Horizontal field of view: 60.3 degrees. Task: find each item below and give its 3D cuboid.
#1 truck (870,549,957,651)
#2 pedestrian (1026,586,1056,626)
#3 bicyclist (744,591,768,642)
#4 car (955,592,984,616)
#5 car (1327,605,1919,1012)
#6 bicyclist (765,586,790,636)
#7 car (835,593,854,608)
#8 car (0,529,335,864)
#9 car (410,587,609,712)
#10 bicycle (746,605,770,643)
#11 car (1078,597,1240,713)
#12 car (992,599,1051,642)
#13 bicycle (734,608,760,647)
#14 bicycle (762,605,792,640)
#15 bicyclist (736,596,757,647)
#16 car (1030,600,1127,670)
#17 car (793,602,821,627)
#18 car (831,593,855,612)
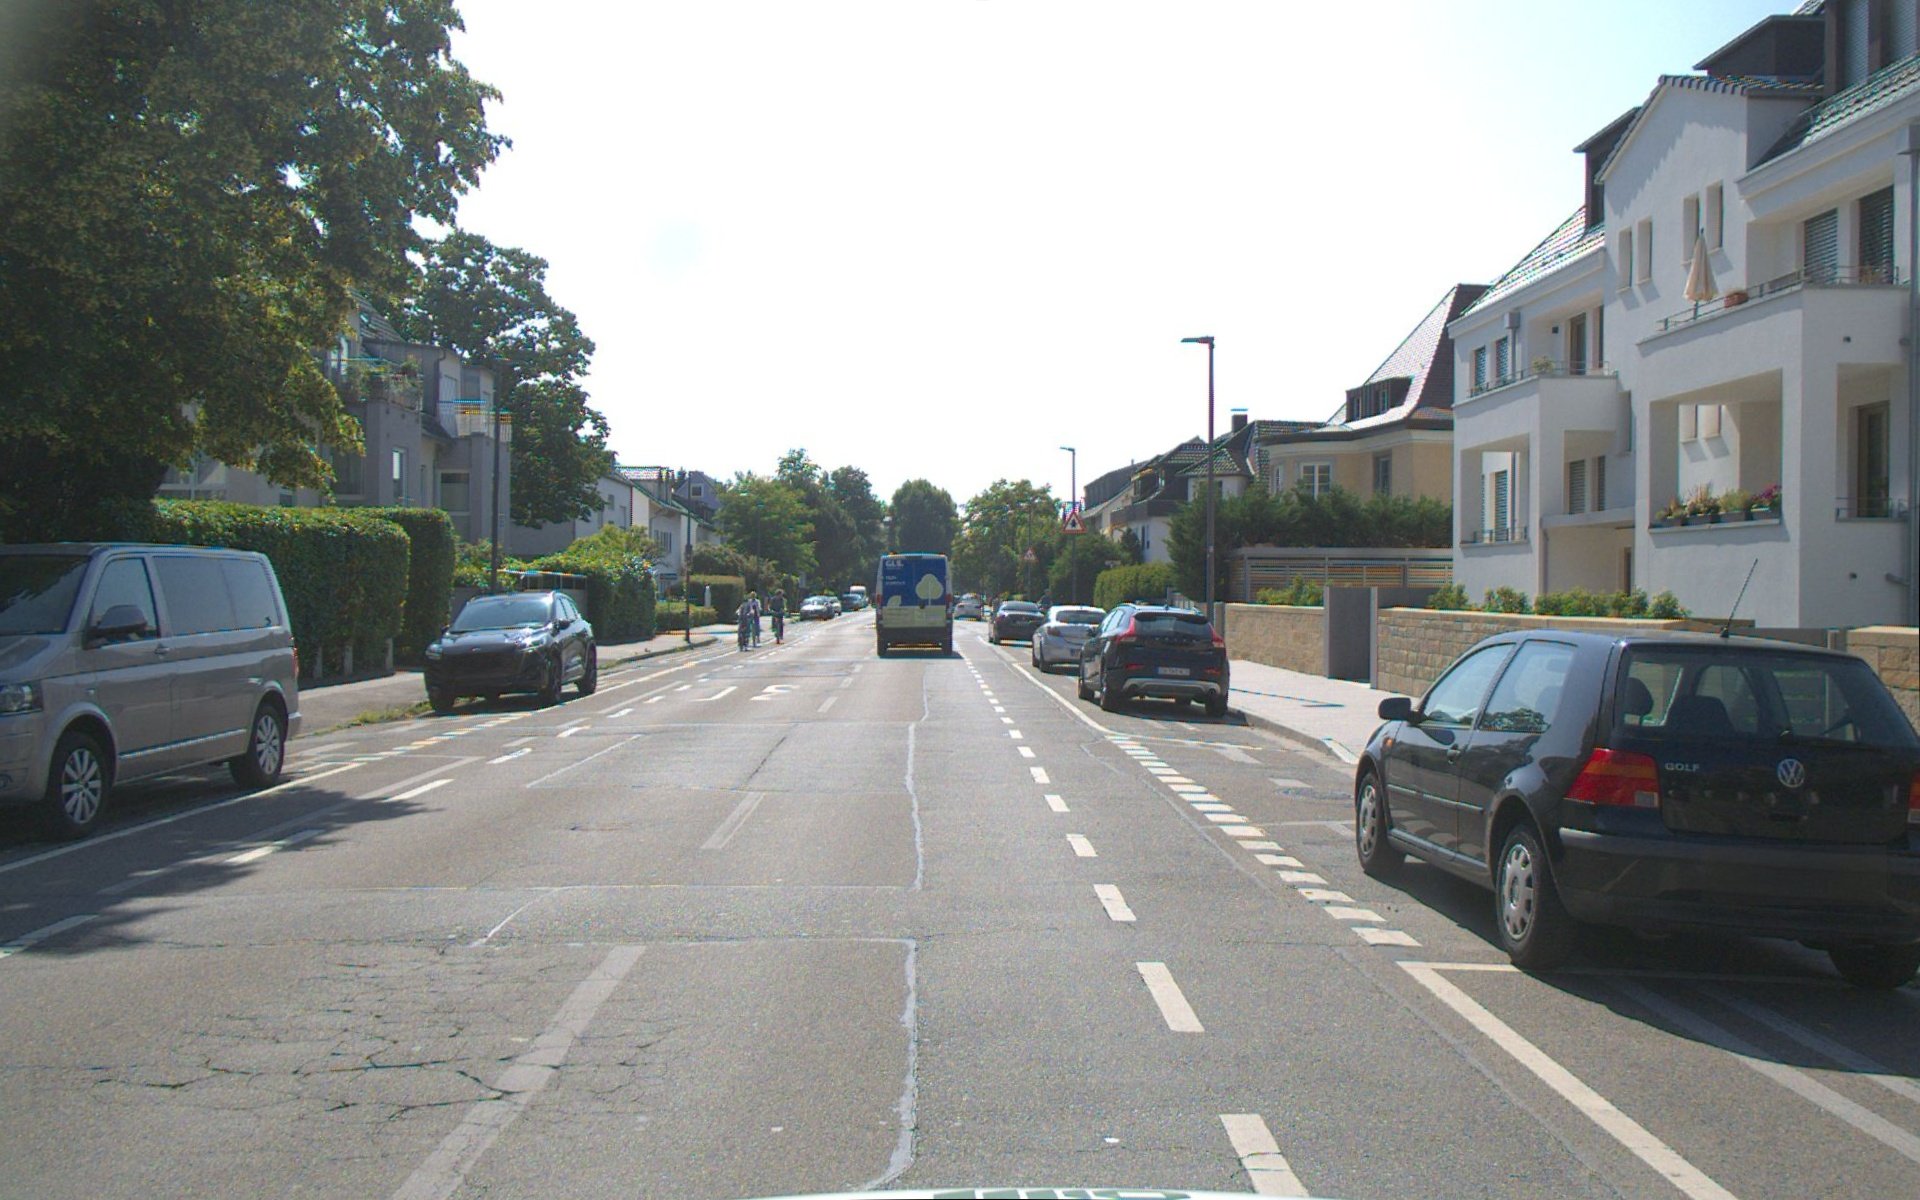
[{"bbox_3d":[-1.246,-0.002,44.580,2.226,2.616,4.390,0,0,-2],"label":"truck"},{"bbox_3d":[3.842,0.275,78.567,0.891,1.905,1.175,0,0,-35],"label":"pedestrian"},{"bbox_3d":[-6.667,0.540,54.061,0.662,1.608,0.859,-2,0,-1],"label":"bicyclist"},{"bbox_3d":[0.614,0.278,110.303,1.705,1.426,4.072,2,1,-3],"label":"car"},{"bbox_3d":[3.170,0.810,8.282,1.587,1.474,3.998,3,0,-2],"label":"car"},{"bbox_3d":[-6.326,0.367,57.374,0.734,1.697,1.021,-2,0,-1],"label":"bicyclist"},{"bbox_3d":[-11.484,0.026,164.378,1.745,1.485,4.084,0,0,-3],"label":"car"},{"bbox_3d":[-6.479,0.582,12.095,1.846,1.953,4.869,-2,0,1],"label":"car"},{"bbox_3d":[-6.789,0.696,25.402,1.813,1.639,4.447,-3,0,-1],"label":"car"},{"bbox_3d":[-6.595,0.781,54.081,0.548,1.206,2.035,-2,0,-1],"label":"bicycle"},{"bbox_3d":[2.818,0.741,24.288,1.687,1.474,4.167,3,0,-2],"label":"car"},{"bbox_3d":[2.016,0.642,55.296,1.701,1.352,4.258,0,0,-2],"label":"car"},{"bbox_3d":[-6.326,0.800,49.098,0.588,1.124,1.346,-2,0,-1],"label":"bicycle"},{"bbox_3d":[-6.345,0.765,57.450,0.767,1.186,2.419,-2,0,-1],"label":"bicycle"},{"bbox_3d":[-6.340,0.624,49.096,0.480,1.479,0.964,-2,0,-1],"label":"bicyclist"},{"bbox_3d":[2.537,0.759,36.198,1.701,1.352,4.075,3,-1,-1],"label":"car"},{"bbox_3d":[-9.862,0.925,106.659,1.750,1.465,4.151,-1,0,-5],"label":"car"},{"bbox_3d":[-9.198,0.216,130.196,1.749,1.465,3.998,0,0,-2],"label":"car"}]
